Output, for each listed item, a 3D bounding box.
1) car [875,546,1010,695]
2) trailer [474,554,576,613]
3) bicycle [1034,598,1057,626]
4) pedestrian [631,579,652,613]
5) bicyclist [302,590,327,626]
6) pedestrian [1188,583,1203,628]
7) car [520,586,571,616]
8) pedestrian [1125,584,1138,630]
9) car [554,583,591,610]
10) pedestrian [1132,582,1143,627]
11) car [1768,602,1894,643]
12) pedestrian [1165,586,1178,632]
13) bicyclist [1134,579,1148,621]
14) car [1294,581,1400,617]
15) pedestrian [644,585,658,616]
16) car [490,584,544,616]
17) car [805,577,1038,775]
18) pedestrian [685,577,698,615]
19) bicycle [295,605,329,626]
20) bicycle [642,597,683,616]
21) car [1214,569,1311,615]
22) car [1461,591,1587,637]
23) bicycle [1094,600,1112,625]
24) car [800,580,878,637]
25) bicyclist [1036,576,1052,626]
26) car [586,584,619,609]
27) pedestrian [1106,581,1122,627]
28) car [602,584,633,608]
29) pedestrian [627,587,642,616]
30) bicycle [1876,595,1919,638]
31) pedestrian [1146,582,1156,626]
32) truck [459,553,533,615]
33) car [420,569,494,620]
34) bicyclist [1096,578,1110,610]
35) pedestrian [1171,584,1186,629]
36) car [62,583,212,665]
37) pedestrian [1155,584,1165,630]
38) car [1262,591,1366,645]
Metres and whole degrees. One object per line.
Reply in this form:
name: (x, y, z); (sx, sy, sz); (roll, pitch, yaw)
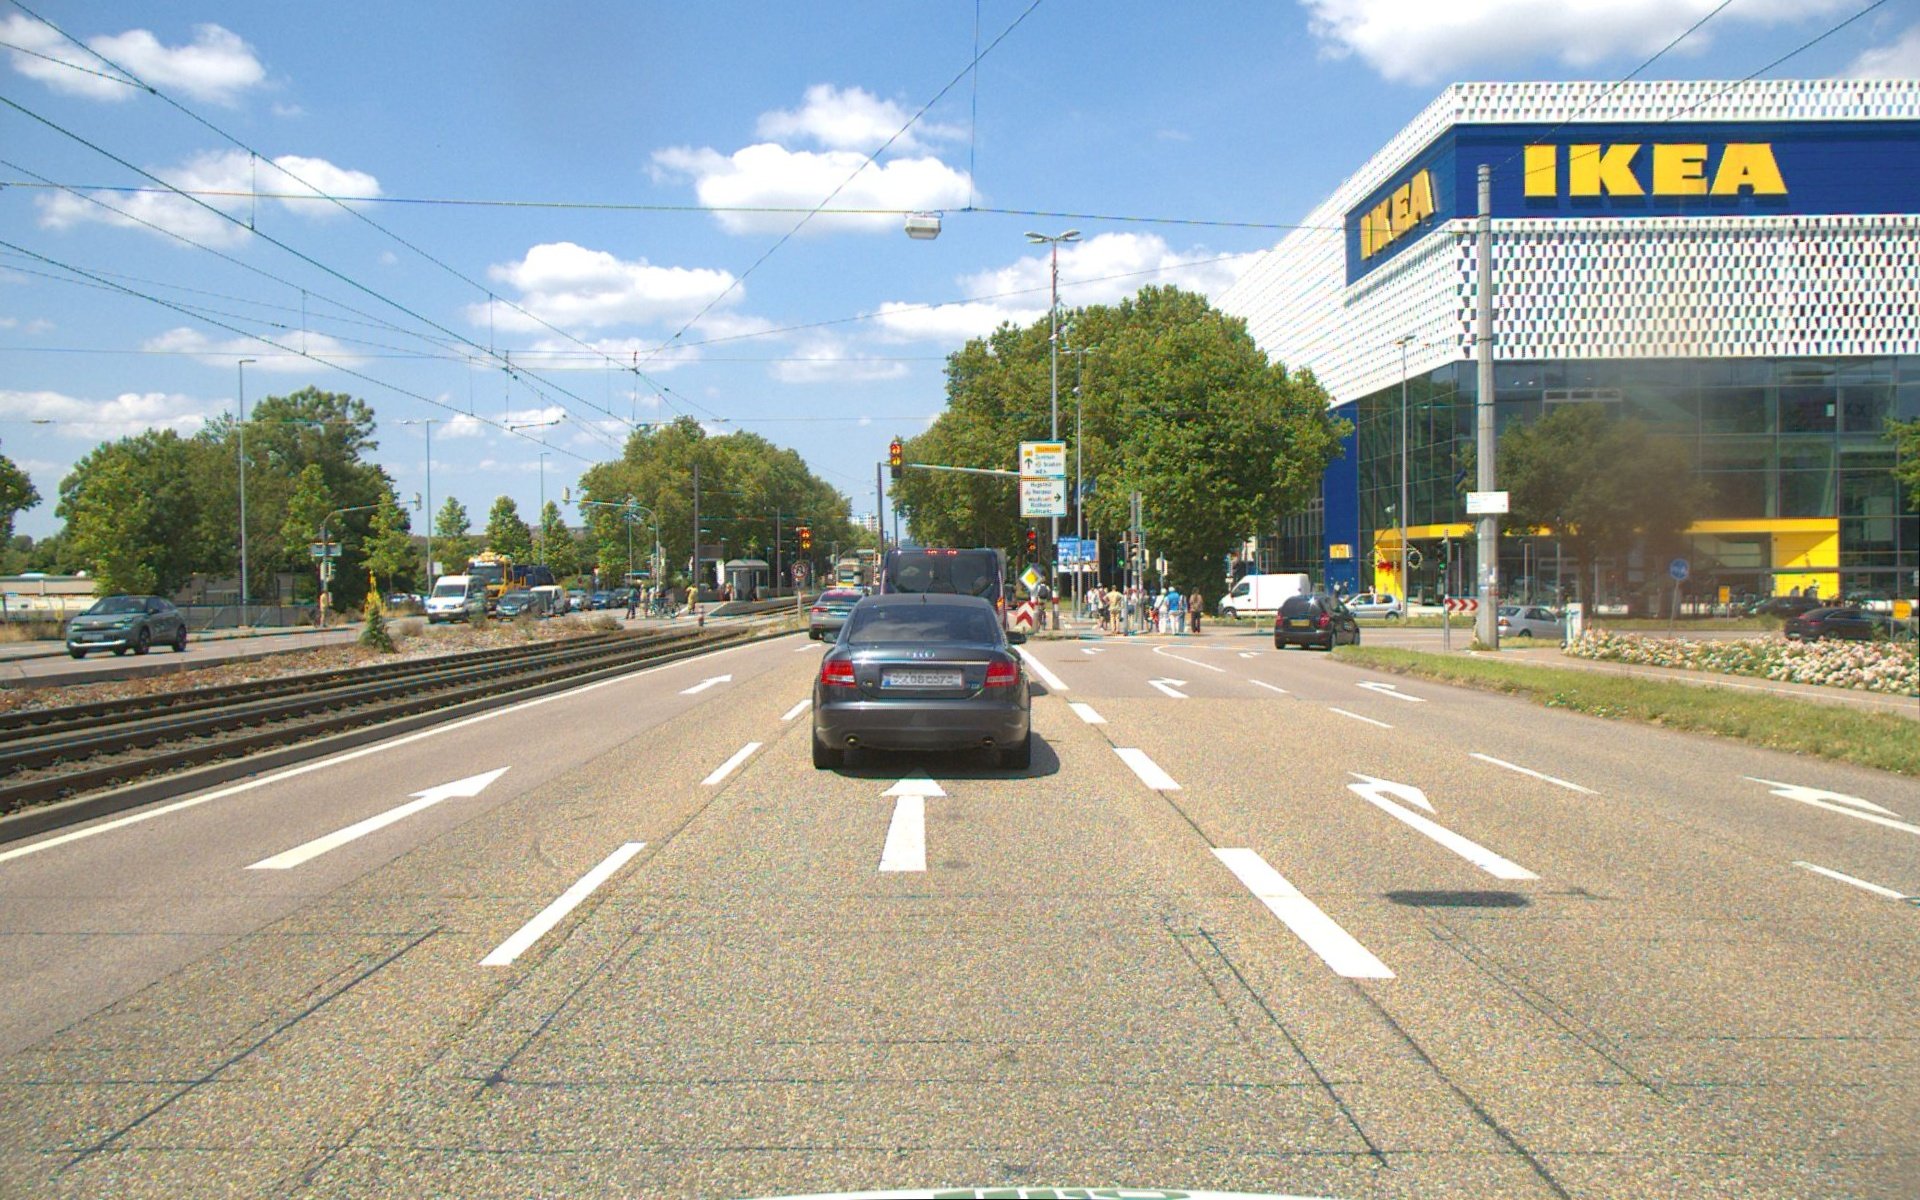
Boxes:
car: (-0.264, 0.264, 24.121); (1.799, 1.984, 3.999); (0, 0, -1)
trailer: (-28.137, -1.067, 107.905); (2.711, 3.580, 15.875); (0, 0, -1)
bicycle: (3.152, 0.434, 61.203); (0.673, 1.011, 2.751); (1, 1, 0)
pedestrian: (-16.651, -0.205, 86.507); (0.806, 1.750, 0.775); (1, 0, 21)
bicyclist: (-32.300, 0.388, 82.721); (1.097, 1.805, 0.340); (0, 0, -6)
pedestrian: (8.841, 0.208, 62.058); (0.510, 1.699, 0.494); (1, 0, 2)
car: (-24.634, 0.040, 98.433); (1.785, 1.699, 4.462); (1, 1, 1)
pedestrian: (6.230, 0.244, 60.062); (0.435, 1.663, 0.430); (1, 0, 2)
car: (-27.939, -0.242, 119.348); (1.781, 1.916, 3.999); (0, 0, -1)
pedestrian: (6.683, 0.160, 62.177); (0.373, 1.663, 0.377); (1, 0, 2)
car: (33.142, 0.844, 63.011); (3.904, 1.515, 1.736); (0, 0, 1)
pedestrian: (7.661, 0.315, 59.930); (0.389, 1.663, 0.371); (1, 0, 2)
bicyclist: (7.923, 0.004, 72.264); (0.517, 1.795, 0.828); (0, 0, 13)
car: (17.497, -0.056, 74.929); (4.403, 1.512, 2.001); (2, 1, 3)
pedestrian: (-15.837, 0.011, 84.751); (0.671, 1.592, 0.572); (0, 0, -4)
car: (-24.319, -0.015, 90.900); (1.785, 1.699, 4.461); (1, 1, -1)
car: (-0.309, 0.554, 14.658); (1.756, 1.480, 4.000); (-1, 1, -1)
pedestrian: (-14.492, -0.209, 89.255); (0.672, 2.049, 0.572); (0, 0, -5)
bicycle: (-32.407, 0.779, 82.723); (1.461, 1.004, 0.485); (1, 0, -5)
bicycle: (-14.888, 0.339, 82.786); (2.019, 0.941, 0.751); (0, 0, -11)
car: (15.899, -0.442, 86.876); (4.666, 2.349, 1.998); (1, 0, 26)
car: (19.676, 0.496, 57.709); (4.110, 1.512, 1.979); (1, 1, -31)
bicycle: (5.303, 0.457, 61.378); (0.538, 0.892, 1.698); (1, 0, 2)
car: (-3.435, 0.201, 47.467); (1.953, 1.512, 4.000); (2, 1, -1)
bicyclist: (3.088, 0.043, 60.803); (0.518, 1.820, 1.088); (0, 0, 0)
car: (-27.841, -0.286, 128.996); (1.781, 1.916, 3.999); (0, 0, -1)
pedestrian: (5.586, 0.153, 60.053); (0.542, 1.663, 0.433); (1, 0, 2)
car: (-27.837, -0.308, 134.579); (1.781, 1.916, 3.999); (0, 0, -1)
pedestrian: (-16.461, 0.066, 83.631); (0.671, 1.468, 0.572); (0, 0, -4)
bicycle: (34.185, 0.590, 59.079); (2.372, 1.507, 0.989); (1, 0, 4)
pedestrian: (7.165, 0.147, 62.099); (0.332, 1.663, 0.377); (1, 0, 2)
truck: (-28.014, -0.968, 100.095); (2.711, 3.631, 6.439); (0, 0, -1)
car: (-27.643, -0.339, 91.118); (2.198, 2.634, 6.233); (-2, 1, -2)
bicyclist: (5.341, -0.222, 61.832); (0.461, 1.214, 0.791); (0, 0, 2)
pedestrian: (8.189, 0.240, 62.080); (0.493, 1.663, 0.449); (1, 0, 2)
car: (-21.354, 0.577, 43.122); (1.954, 1.951, 4.407); (1, 1, -4)
pedestrian: (7.239, 0.238, 59.921); (0.314, 1.663, 0.377); (1, 0, 2)
car: (10.613, 0.513, 49.453); (1.956, 1.512, 3.993); (2, 1, 29)
